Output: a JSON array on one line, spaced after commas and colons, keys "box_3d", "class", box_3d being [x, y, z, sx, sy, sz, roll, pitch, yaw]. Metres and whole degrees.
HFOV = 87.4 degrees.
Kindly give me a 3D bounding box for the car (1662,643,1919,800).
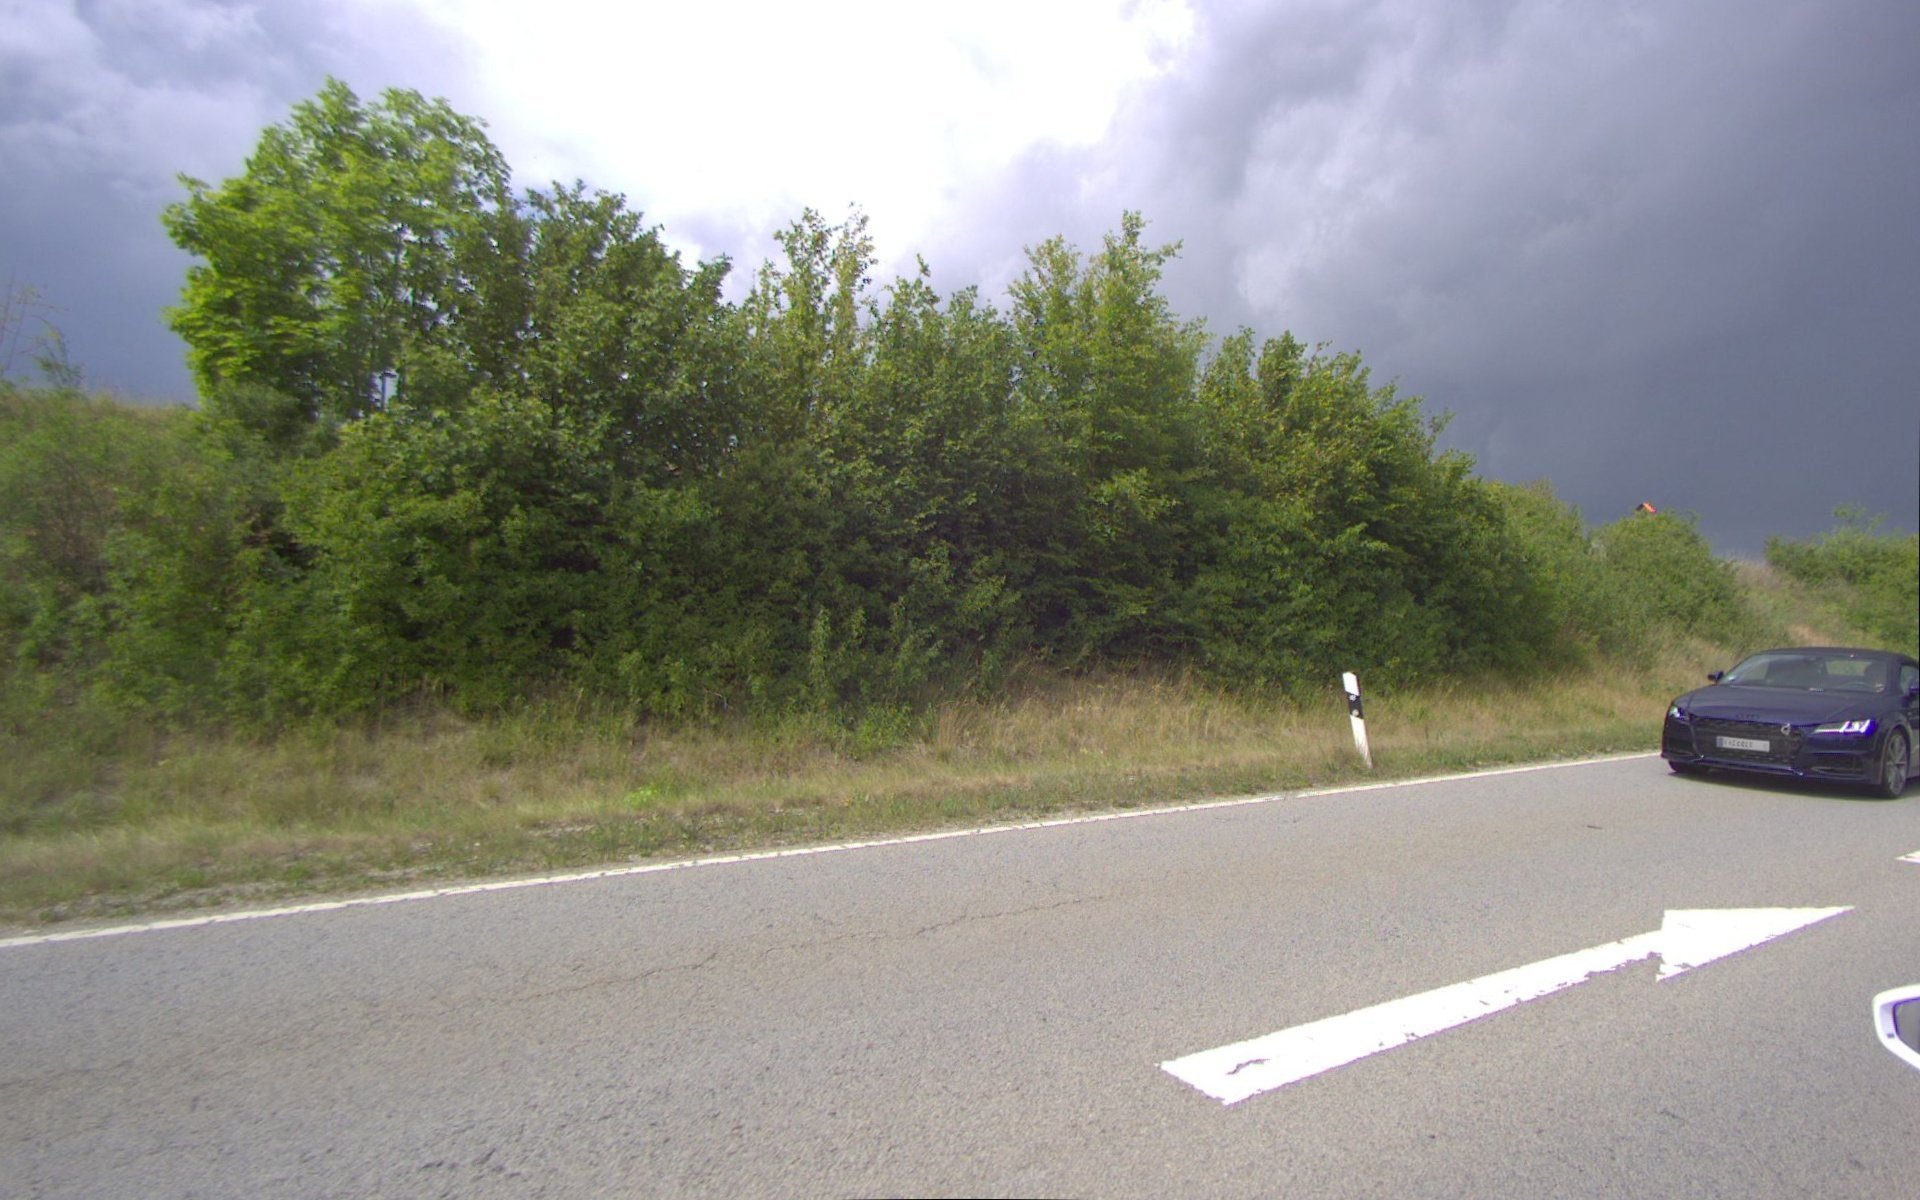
[{"box_3d": [9.293, 1.162, 10.660, 3.957, 1.348, 1.691, 2, -2, -33], "class": "car"}]
